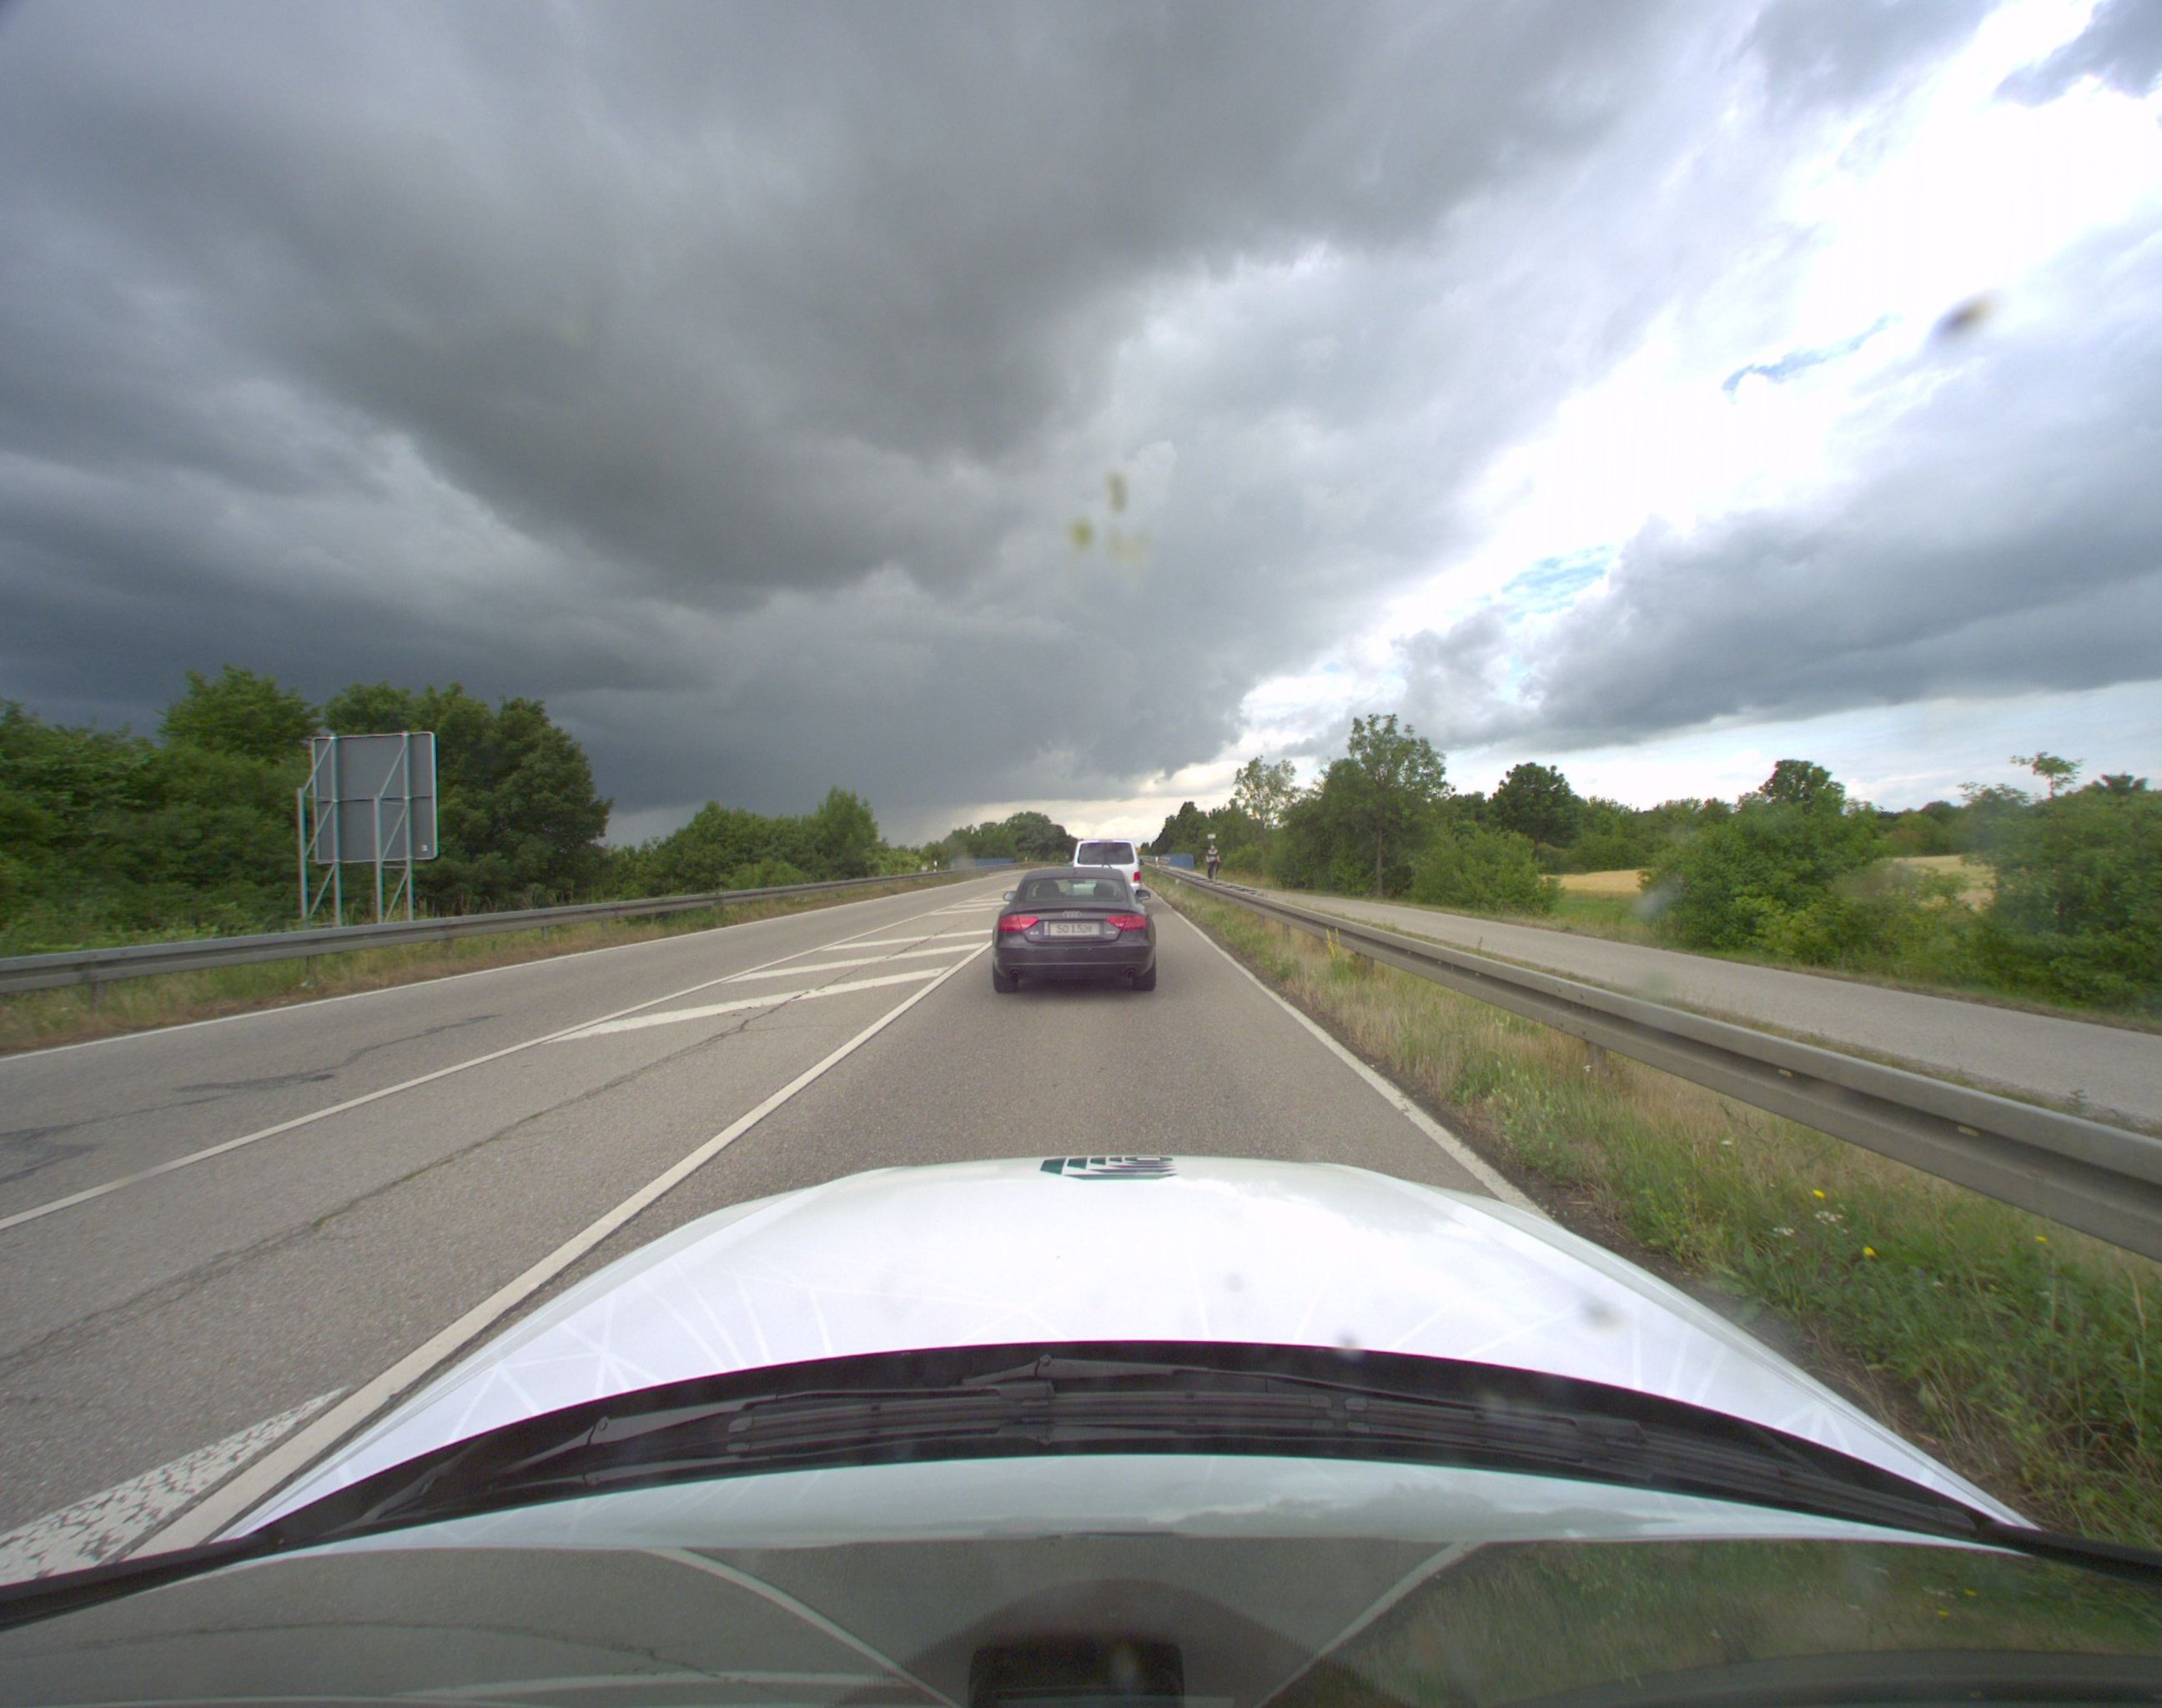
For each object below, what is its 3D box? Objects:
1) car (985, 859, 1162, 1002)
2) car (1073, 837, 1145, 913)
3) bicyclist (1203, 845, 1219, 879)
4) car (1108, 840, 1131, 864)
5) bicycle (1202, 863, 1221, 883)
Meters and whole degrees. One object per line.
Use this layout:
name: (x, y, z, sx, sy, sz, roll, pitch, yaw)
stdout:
car: (-0.010, 0.793, 10.214, 1.779, 1.424, 4.002, -1, -1, 2)
car: (0.765, 0.557, 22.378, 1.779, 1.890, 4.002, -1, -1, 2)
bicyclist: (6.318, 0.393, 39.662, 0.644, 1.645, 0.866, -2, -1, 2)
car: (4.212, -0.207, 89.269, 2.438, 2.504, 5.044, -1, 0, 2)
bicycle: (6.321, 0.918, 39.547, 0.663, 0.920, 1.831, -2, 0, 2)
